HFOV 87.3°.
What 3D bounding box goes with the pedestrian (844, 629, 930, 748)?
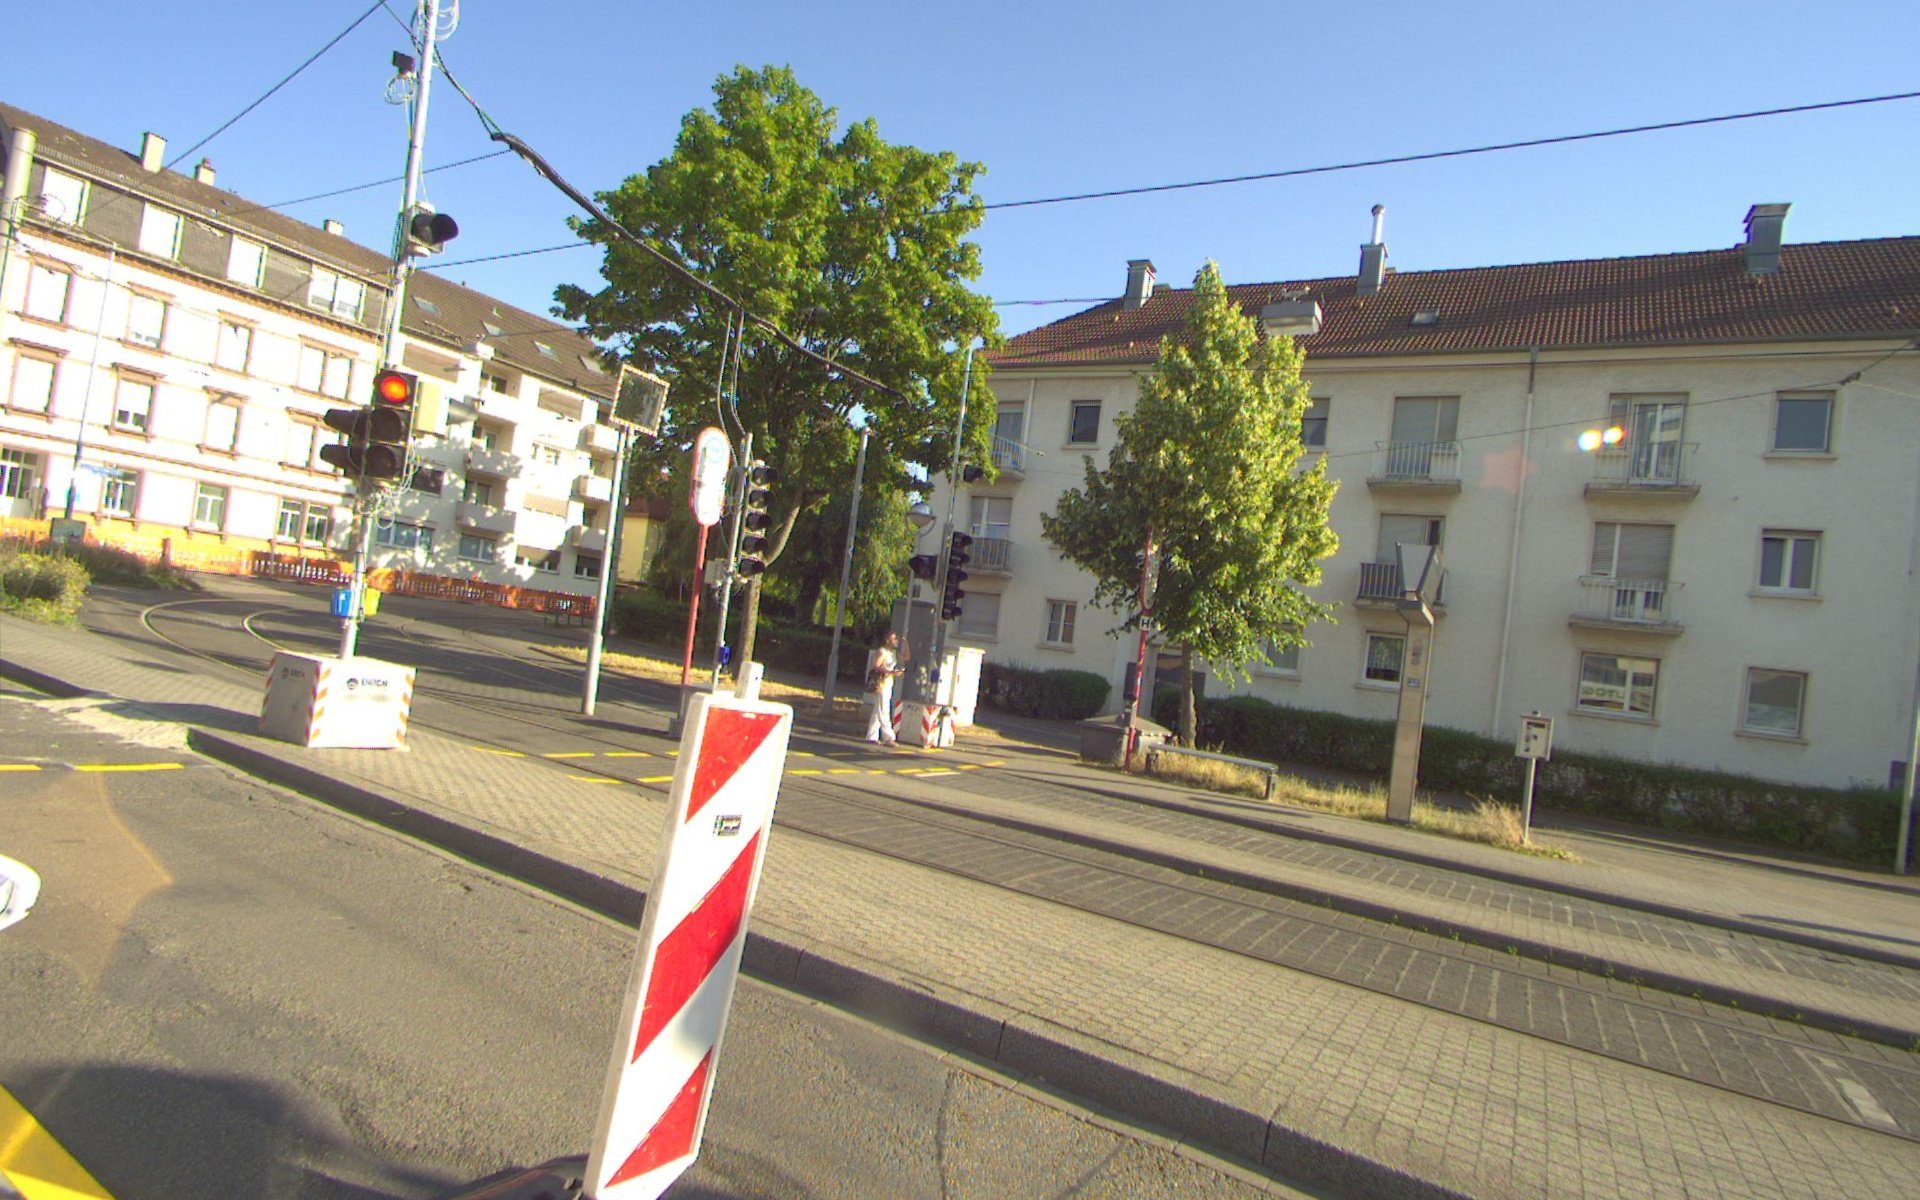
[{"bbox_3d":[-1.077,1.312,14.950,0.777,1.639,0.826,7,-1,27],"label":"pedestrian"}]
